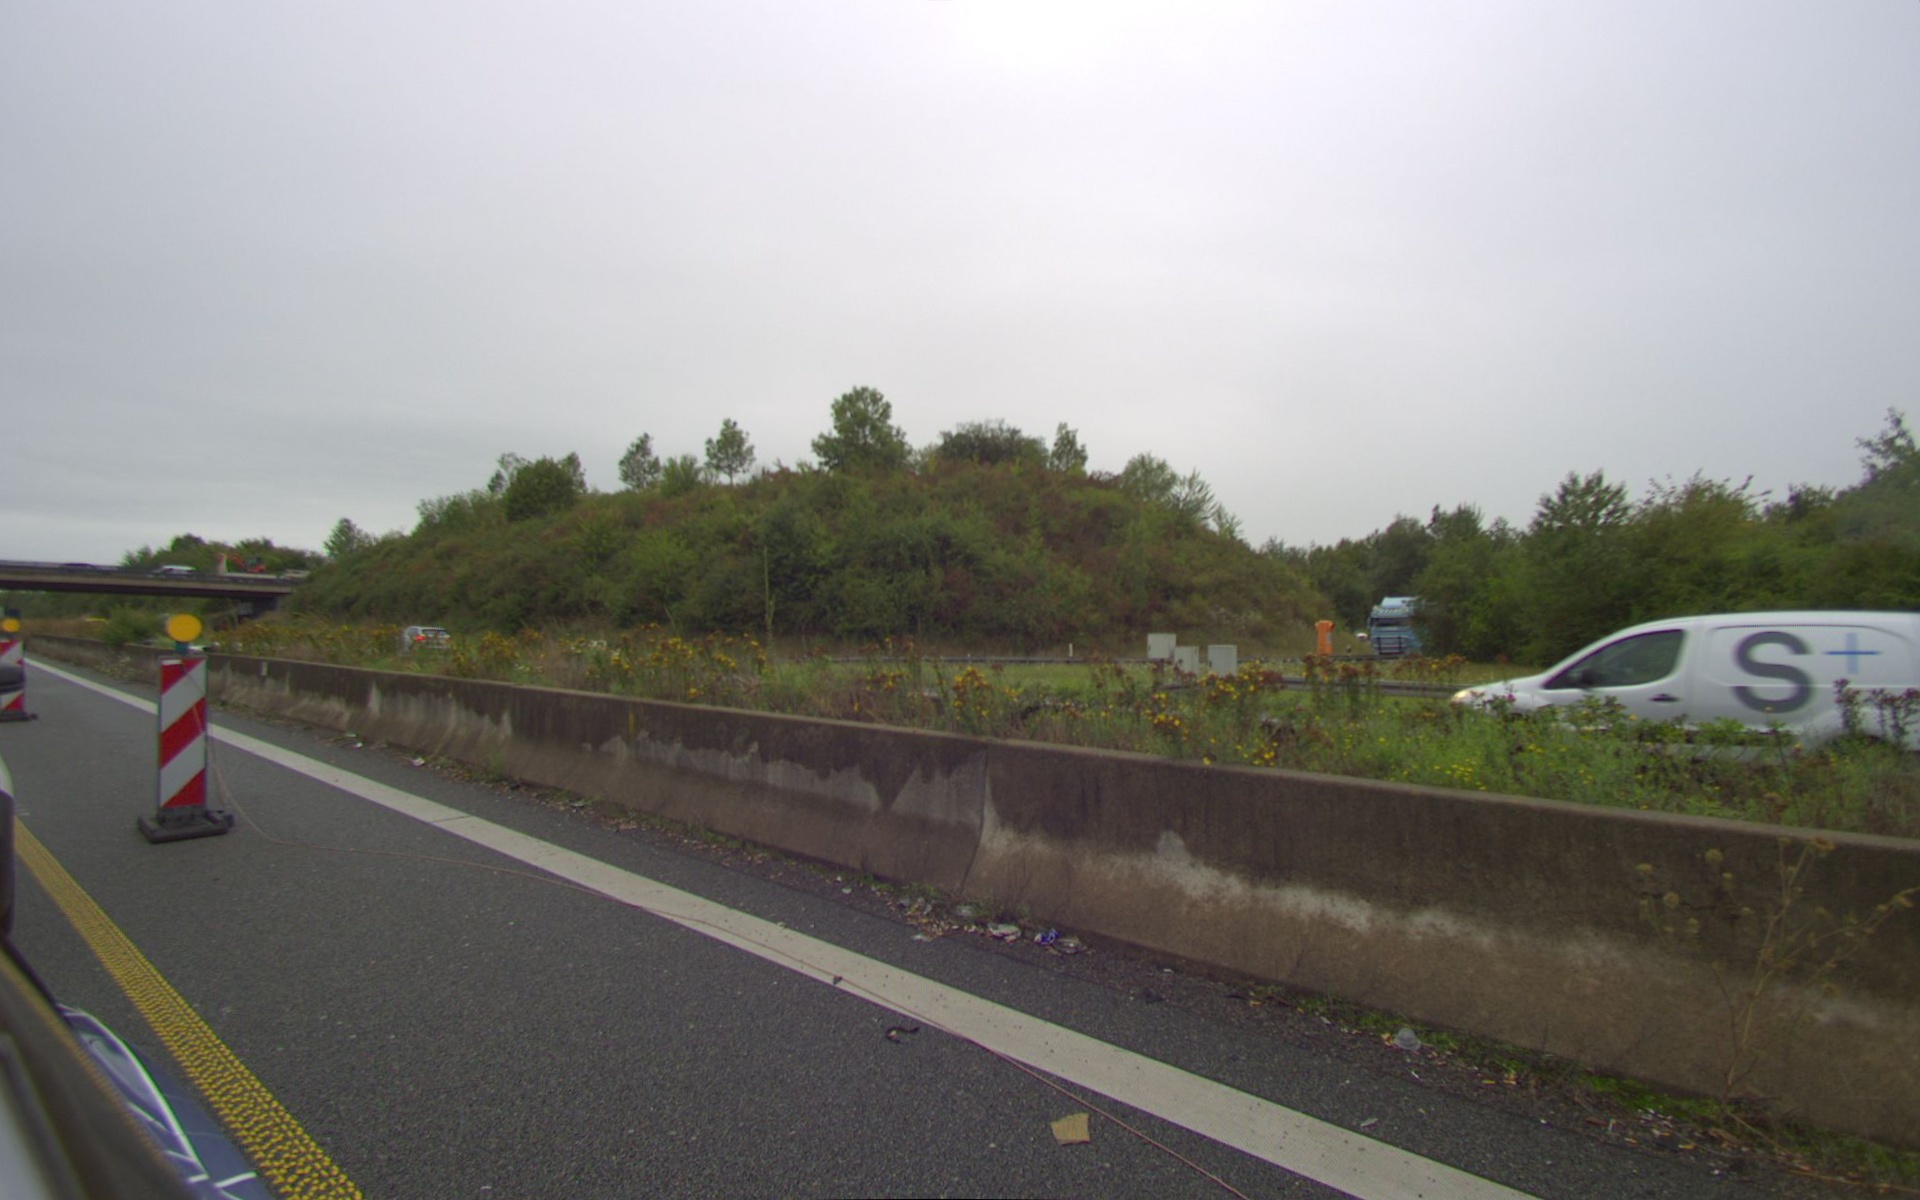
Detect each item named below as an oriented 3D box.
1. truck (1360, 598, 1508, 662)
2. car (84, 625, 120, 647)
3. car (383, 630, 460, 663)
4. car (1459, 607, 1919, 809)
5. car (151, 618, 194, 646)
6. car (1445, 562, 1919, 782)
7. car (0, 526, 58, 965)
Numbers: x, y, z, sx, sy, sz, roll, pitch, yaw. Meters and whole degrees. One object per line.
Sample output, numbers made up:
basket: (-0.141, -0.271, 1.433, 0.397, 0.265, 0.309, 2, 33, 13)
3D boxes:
truck: (29.786, 1.929, 63.017, 14.355, 3.647, 2.904, 2, -3, -42)
car: (-81.448, 3.387, 96.068, 4.777, 2.063, 1.972, -2, -3, 42)
car: (-25.859, 2.220, 48.529, 4.108, 1.491, 1.972, -2, -3, 42)
car: (7.411, 0.950, 10.081, 4.001, 1.662, 1.847, -2, -3, 44)
car: (-71.222, 2.927, 91.463, 5.885, 2.459, 2.214, -2, -3, 44)
car: (7.321, 0.590, 10.208, 3.999, 1.815, 1.972, 0, 0, 42)
car: (-6.140, 0.641, 5.149, 4.645, 1.798, 1.747, -1, -1, 41)
